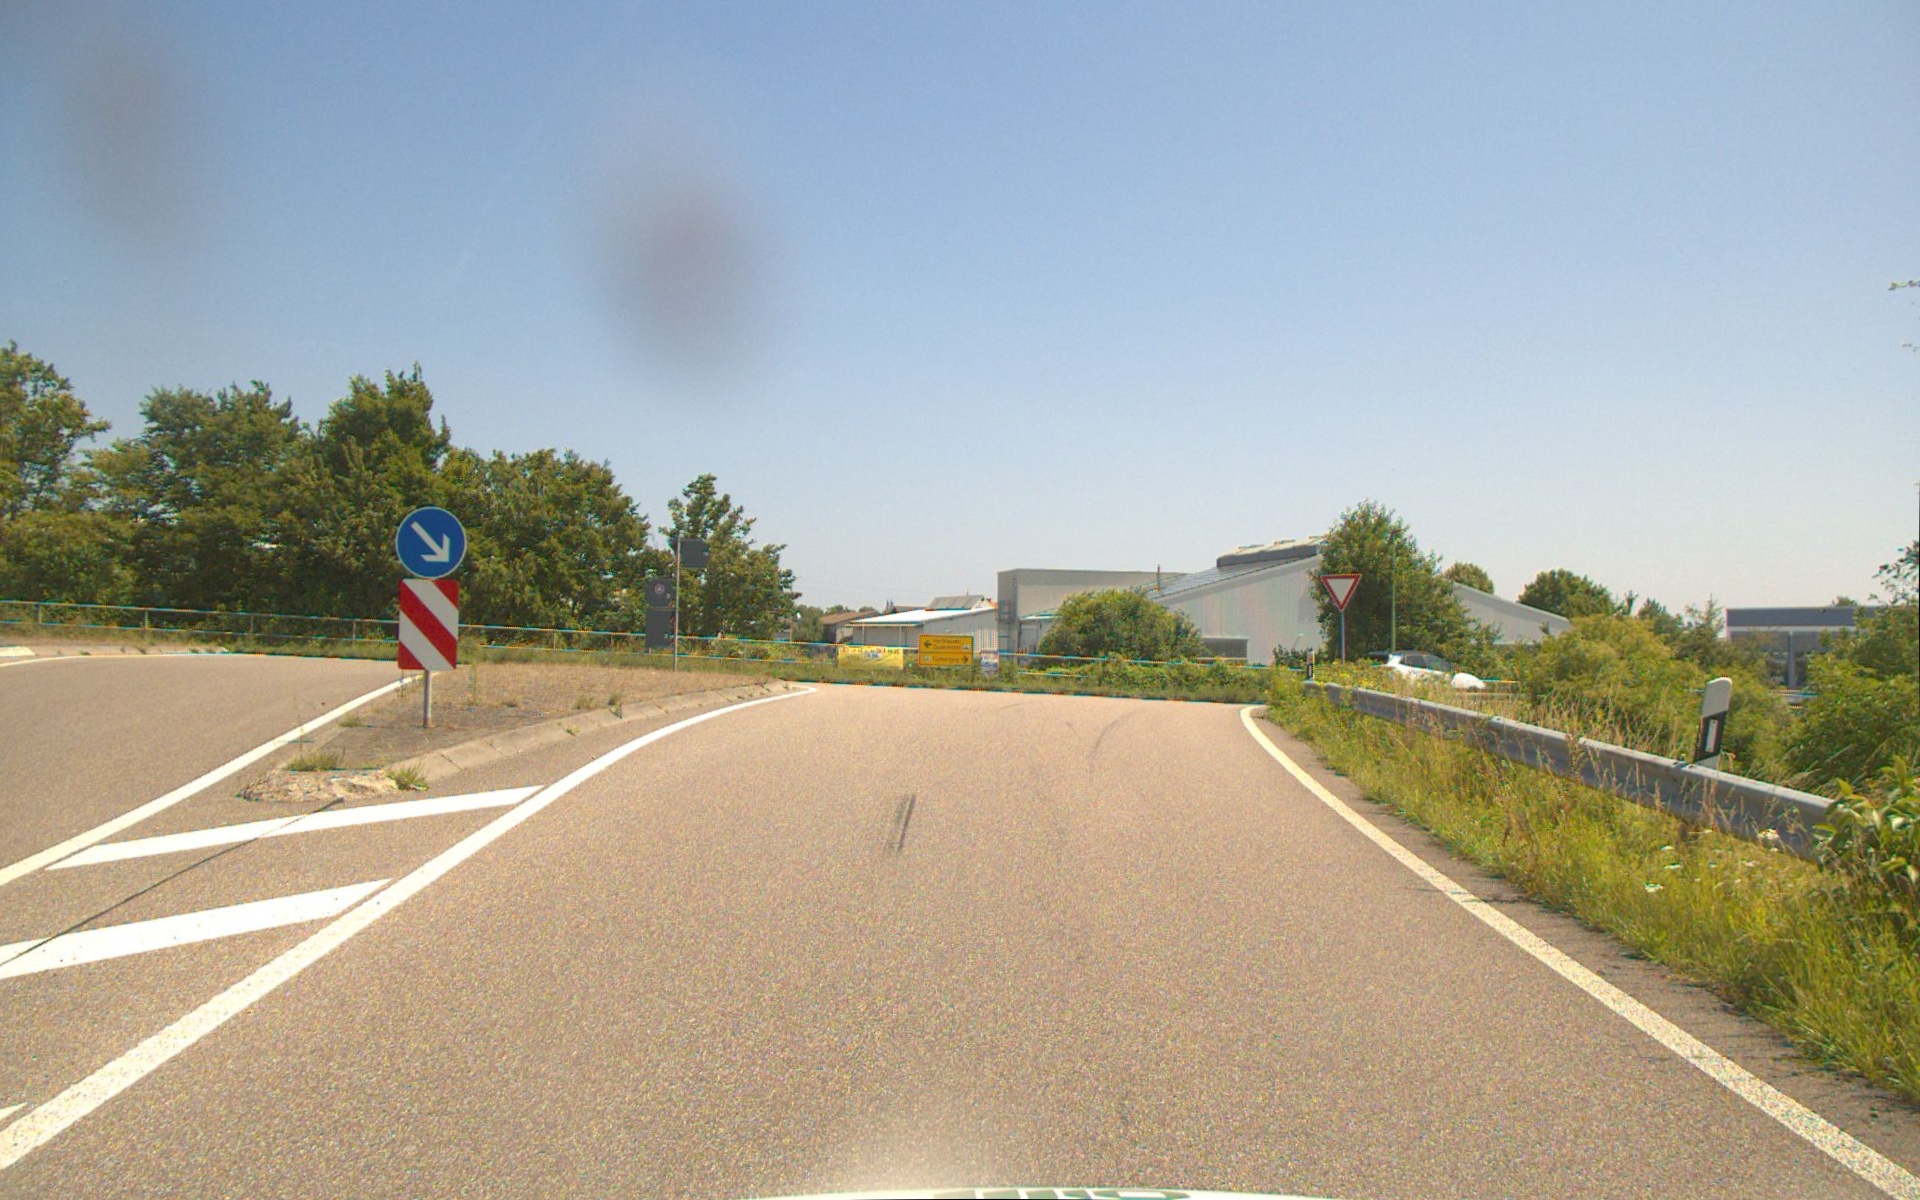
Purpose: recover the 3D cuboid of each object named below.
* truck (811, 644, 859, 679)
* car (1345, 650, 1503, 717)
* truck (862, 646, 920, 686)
[{"bbox_3d":[-16.976,8.246,223.470,3.357,4.387,14.525,3,-2,-16],"label":"truck"},{"bbox_3d":[12.458,2.195,44.355,3.939,1.721,1.798,1,-2,-27],"label":"car"},{"bbox_3d":[-8.046,7.543,190.315,3.647,4.387,13.285,3,-2,-15],"label":"truck"}]
